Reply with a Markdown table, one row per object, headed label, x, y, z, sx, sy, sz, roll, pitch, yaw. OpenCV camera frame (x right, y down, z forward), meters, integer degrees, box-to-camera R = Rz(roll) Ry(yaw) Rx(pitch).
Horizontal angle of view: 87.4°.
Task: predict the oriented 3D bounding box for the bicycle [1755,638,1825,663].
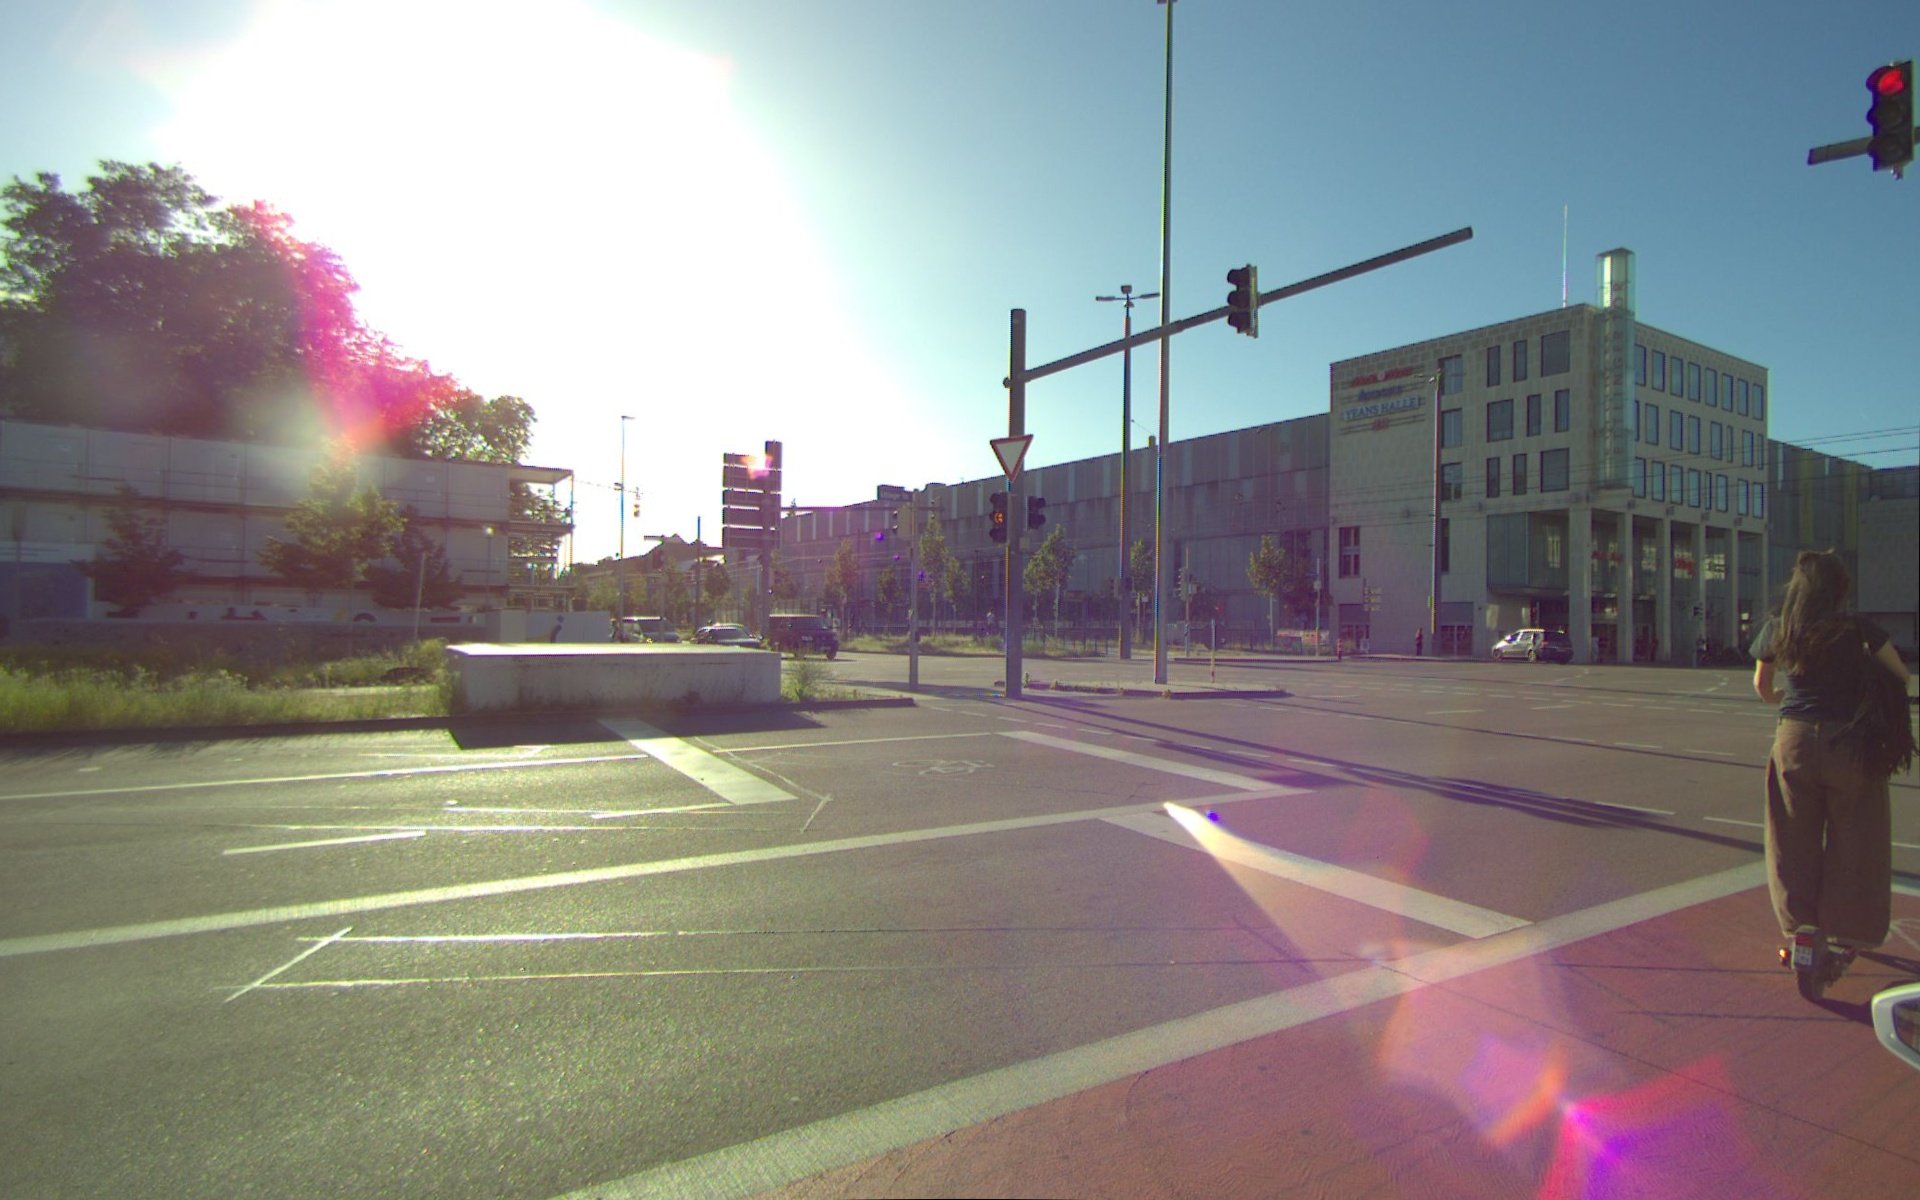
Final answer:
| label | x | y | z | sx | sy | sz | roll | pitch | yaw |
| --- | --- | --- | --- | --- | --- | --- | --- | --- | --- |
| bicycle | 55.261 | 3.329 | 66.925 | 0.979 | 1.547 | 3.462 | 2 | -2 | -40 |

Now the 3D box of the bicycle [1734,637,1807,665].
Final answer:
| label | x | y | z | sx | sy | sz | roll | pitch | yaw |
| --- | --- | --- | --- | --- | --- | --- | --- | --- | --- |
| bicycle | 51.125 | 3.190 | 63.428 | 0.979 | 1.719 | 3.462 | 1 | -2 | -40 |

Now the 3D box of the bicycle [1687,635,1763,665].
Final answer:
| label | x | y | z | sx | sy | sz | roll | pitch | yaw |
| --- | --- | --- | --- | --- | --- | --- | --- | --- | --- |
| bicycle | 45.704 | 2.977 | 60.037 | 1.107 | 1.719 | 3.465 | 1 | -2 | -38 |

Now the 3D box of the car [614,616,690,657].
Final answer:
| label | x | y | z | sx | sy | sz | roll | pitch | yaw |
| --- | --- | --- | --- | --- | --- | --- | --- | --- | --- |
| car | -14.791 | 1.704 | 48.102 | 1.981 | 1.849 | 4.821 | 1 | -2 | -36 |

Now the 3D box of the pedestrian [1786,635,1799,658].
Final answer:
| label | x | y | z | sx | sy | sz | roll | pitch | yaw |
| --- | --- | --- | --- | --- | --- | --- | --- | --- | --- |
| pedestrian | 61.339 | 3.438 | 74.014 | 0.689 | 1.664 | 0.648 | 1 | -1 | -38 |

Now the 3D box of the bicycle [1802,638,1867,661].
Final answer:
| label | x | y | z | sx | sy | sz | roll | pitch | yaw |
| --- | --- | --- | --- | --- | --- | --- | --- | --- | --- |
| bicycle | 63.711 | 3.589 | 73.207 | 0.979 | 1.547 | 3.462 | 2 | -2 | -40 |

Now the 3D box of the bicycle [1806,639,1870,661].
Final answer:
| label | x | y | z | sx | sy | sz | roll | pitch | yaw |
| --- | --- | --- | --- | --- | --- | --- | --- | --- | --- |
| bicycle | 64.511 | 3.645 | 73.856 | 0.979 | 1.547 | 3.462 | 2 | -2 | -40 |

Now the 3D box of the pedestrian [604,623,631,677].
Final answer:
| label | x | y | z | sx | sy | sz | roll | pitch | yaw |
| --- | --- | --- | --- | --- | --- | --- | --- | --- | --- |
| pedestrian | -10.825 | 1.571 | 31.725 | 0.619 | 1.674 | 0.935 | 1 | -1 | -30 |

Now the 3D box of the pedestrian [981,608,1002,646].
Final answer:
| label | x | y | z | sx | sy | sz | roll | pitch | yaw |
| --- | --- | --- | --- | --- | --- | --- | --- | --- | --- |
| pedestrian | 1.589 | 1.358 | 50.596 | 0.788 | 1.855 | 0.706 | 1 | -1 | -37 |

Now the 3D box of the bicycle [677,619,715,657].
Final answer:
| label | x | y | z | sx | sy | sz | roll | pitch | yaw |
| --- | --- | --- | --- | --- | --- | --- | --- | --- | --- |
| bicycle | -15.019 | 2.130 | 56.974 | 1.007 | 2.040 | 3.472 | 1 | -2 | -33 |

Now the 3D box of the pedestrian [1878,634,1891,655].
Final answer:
| label | x | y | z | sx | sy | sz | roll | pitch | yaw |
| --- | --- | --- | --- | --- | --- | --- | --- | --- | --- |
| pedestrian | 76.822 | 3.689 | 83.474 | 0.689 | 1.664 | 0.691 | 1 | -1 | -38 |

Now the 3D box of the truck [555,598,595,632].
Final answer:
| label | x | y | z | sx | sy | sz | roll | pitch | yaw |
| --- | --- | --- | --- | --- | --- | --- | --- | --- | --- |
| truck | -33.474 | 1.326 | 87.253 | 1.979 | 2.875 | 6.293 | 1 | -2 | -33 |

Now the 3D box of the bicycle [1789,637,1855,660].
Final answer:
| label | x | y | z | sx | sy | sz | roll | pitch | yaw |
| --- | --- | --- | --- | --- | --- | --- | --- | --- | --- |
| bicycle | 61.193 | 3.451 | 71.307 | 0.979 | 1.547 | 3.462 | 2 | -2 | -40 |

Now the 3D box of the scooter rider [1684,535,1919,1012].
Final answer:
| label | x | y | z | sx | sy | sz | roll | pitch | yaw |
| --- | --- | --- | --- | --- | --- | --- | --- | --- | --- |
| scooter rider | 3.721 | 0.664 | 4.314 | 0.801 | 1.798 | 0.725 | 1 | -1 | -30 |

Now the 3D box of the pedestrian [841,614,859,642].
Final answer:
| label | x | y | z | sx | sy | sz | roll | pitch | yaw |
| --- | --- | --- | --- | --- | --- | --- | --- | --- | --- |
| pedestrian | -7.187 | 1.824 | 65.772 | 0.889 | 1.855 | 0.787 | 1 | -1 | -35 |

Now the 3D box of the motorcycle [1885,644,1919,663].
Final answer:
| label | x | y | z | sx | sy | sz | roll | pitch | yaw |
| --- | --- | --- | --- | --- | --- | --- | --- | --- | --- |
| motorcycle | 70.751 | 4.017 | 75.089 | 0.713 | 1.335 | 2.260 | 1 | -2 | -34 |

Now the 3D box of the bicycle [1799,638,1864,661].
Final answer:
| label | x | y | z | sx | sy | sz | roll | pitch | yaw |
| --- | --- | --- | --- | --- | --- | --- | --- | --- | --- |
| bicycle | 62.671 | 3.524 | 72.257 | 0.979 | 1.547 | 3.462 | 2 | -2 | -40 |

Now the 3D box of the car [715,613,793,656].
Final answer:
| label | x | y | z | sx | sy | sz | roll | pitch | yaw |
| --- | --- | --- | --- | --- | --- | --- | --- | --- | --- |
| car | -10.385 | 1.697 | 50.421 | 1.981 | 2.040 | 4.821 | 1 | -2 | -36 |

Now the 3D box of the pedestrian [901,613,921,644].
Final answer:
| label | x | y | z | sx | sy | sz | roll | pitch | yaw |
| --- | --- | --- | --- | --- | --- | --- | --- | --- | --- |
| pedestrian | -2.920 | 1.695 | 59.984 | 0.889 | 1.855 | 0.787 | 1 | -1 | -35 |

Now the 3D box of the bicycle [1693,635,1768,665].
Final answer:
| label | x | y | z | sx | sy | sz | roll | pitch | yaw |
| --- | --- | --- | --- | --- | --- | --- | --- | --- | --- |
| bicycle | 46.619 | 3.024 | 60.831 | 1.107 | 1.719 | 3.465 | 1 | -2 | -38 |

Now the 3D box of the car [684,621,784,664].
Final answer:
| label | x | y | z | sx | sy | sz | roll | pitch | yaw |
| --- | --- | --- | --- | --- | --- | --- | --- | --- | --- |
| car | -9.393 | 1.706 | 41.515 | 2.313 | 1.671 | 4.821 | 1 | -2 | -37 |

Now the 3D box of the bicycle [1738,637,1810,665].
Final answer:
| label | x | y | z | sx | sy | sz | roll | pitch | yaw |
| --- | --- | --- | --- | --- | --- | --- | --- | --- | --- |
| bicycle | 51.950 | 3.227 | 64.162 | 0.979 | 1.719 | 3.462 | 1 | -2 | -40 |

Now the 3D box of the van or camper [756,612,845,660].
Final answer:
| label | x | y | z | sx | sy | sz | roll | pitch | yaw |
| --- | --- | --- | --- | --- | --- | --- | --- | --- | --- |
| van or camper | -7.292 | 1.594 | 45.601 | 1.981 | 2.040 | 4.821 | 1 | -2 | -36 |

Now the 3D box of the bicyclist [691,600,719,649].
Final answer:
| label | x | y | z | sx | sy | sz | roll | pitch | yaw |
| --- | --- | --- | --- | --- | --- | --- | --- | --- | --- |
| bicyclist | -14.115 | 1.371 | 55.681 | 1.007 | 2.677 | 1.610 | 1 | -1 | -34 |

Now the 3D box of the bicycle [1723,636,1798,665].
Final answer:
| label | x | y | z | sx | sy | sz | roll | pitch | yaw |
| --- | --- | --- | --- | --- | --- | --- | --- | --- | --- |
| bicycle | 49.149 | 3.080 | 61.743 | 1.107 | 1.719 | 3.465 | 1 | -2 | -38 |

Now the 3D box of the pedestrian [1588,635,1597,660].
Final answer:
| label | x | y | z | sx | sy | sz | roll | pitch | yaw |
| --- | --- | --- | --- | --- | --- | --- | --- | --- | --- |
| pedestrian | 39.823 | 2.992 | 63.241 | 0.363 | 1.606 | 0.384 | 1 | -1 | -34 |

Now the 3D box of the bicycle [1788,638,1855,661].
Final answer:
| label | x | y | z | sx | sy | sz | roll | pitch | yaw |
| --- | --- | --- | --- | --- | --- | --- | --- | --- | --- |
| bicycle | 60.387 | 3.434 | 70.475 | 0.979 | 1.547 | 3.462 | 2 | -2 | -40 |

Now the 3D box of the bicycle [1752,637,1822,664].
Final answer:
| label | x | y | z | sx | sy | sz | roll | pitch | yaw |
| --- | --- | --- | --- | --- | --- | --- | --- | --- | --- |
| bicycle | 54.510 | 3.320 | 66.256 | 0.979 | 1.719 | 3.462 | 1 | -2 | -40 |

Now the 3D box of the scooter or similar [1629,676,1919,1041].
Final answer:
| label | x | y | z | sx | sy | sz | roll | pitch | yaw |
| --- | --- | --- | --- | --- | --- | --- | --- | --- | --- |
| scooter or similar | 3.678 | 0.969 | 4.286 | 1.645 | 1.218 | 0.725 | 1 | -1 | -30 |

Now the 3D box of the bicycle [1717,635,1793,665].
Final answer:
| label | x | y | z | sx | sy | sz | roll | pitch | yaw |
| --- | --- | --- | --- | --- | --- | --- | --- | --- | --- |
| bicycle | 48.220 | 3.013 | 60.942 | 1.107 | 1.719 | 3.465 | 1 | -2 | -38 |

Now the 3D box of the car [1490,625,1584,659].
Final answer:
| label | x | y | z | sx | sy | sz | roll | pitch | yaw |
| --- | --- | --- | --- | --- | --- | --- | --- | --- | --- |
| car | 28.678 | 2.133 | 50.113 | 1.961 | 1.628 | 4.481 | -1 | -3 | -2 |

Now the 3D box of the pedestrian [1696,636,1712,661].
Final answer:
| label | x | y | z | sx | sy | sz | roll | pitch | yaw |
| --- | --- | --- | --- | --- | --- | --- | --- | --- | --- |
| pedestrian | 49.659 | 3.248 | 67.050 | 0.773 | 1.664 | 0.693 | 0 | -1 | 32 |

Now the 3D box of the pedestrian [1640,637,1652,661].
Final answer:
| label | x | y | z | sx | sy | sz | roll | pitch | yaw |
| --- | --- | --- | --- | --- | --- | --- | --- | --- | --- |
| pedestrian | 45.005 | 3.218 | 65.911 | 0.508 | 1.530 | 0.479 | 1 | -1 | -34 |

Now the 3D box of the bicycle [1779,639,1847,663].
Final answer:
| label | x | y | z | sx | sy | sz | roll | pitch | yaw |
| --- | --- | --- | --- | --- | --- | --- | --- | --- | --- |
| bicycle | 58.879 | 3.479 | 69.393 | 0.979 | 1.547 | 3.462 | 2 | -2 | -40 |

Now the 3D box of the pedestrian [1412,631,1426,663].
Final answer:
| label | x | y | z | sx | sy | sz | roll | pitch | yaw |
| --- | --- | --- | --- | --- | --- | --- | --- | --- | --- |
| pedestrian | 24.405 | 2.490 | 53.399 | 0.543 | 1.716 | 0.521 | 1 | -1 | -40 |

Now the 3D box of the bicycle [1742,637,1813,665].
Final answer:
| label | x | y | z | sx | sy | sz | roll | pitch | yaw |
| --- | --- | --- | --- | --- | --- | --- | --- | --- | --- |
| bicycle | 52.864 | 3.259 | 64.966 | 0.979 | 1.719 | 3.462 | 1 | -2 | -40 |

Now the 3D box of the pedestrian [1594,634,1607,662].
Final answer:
| label | x | y | z | sx | sy | sz | roll | pitch | yaw |
| --- | --- | --- | --- | --- | --- | --- | --- | --- | --- |
| pedestrian | 37.788 | 2.822 | 59.233 | 0.534 | 1.664 | 0.547 | -1 | -1 | 43 |

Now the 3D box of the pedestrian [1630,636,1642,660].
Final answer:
| label | x | y | z | sx | sy | sz | roll | pitch | yaw |
| --- | --- | --- | --- | --- | --- | --- | --- | --- | --- |
| pedestrian | 44.315 | 3.135 | 65.865 | 0.508 | 1.606 | 0.479 | 1 | -1 | -34 |
